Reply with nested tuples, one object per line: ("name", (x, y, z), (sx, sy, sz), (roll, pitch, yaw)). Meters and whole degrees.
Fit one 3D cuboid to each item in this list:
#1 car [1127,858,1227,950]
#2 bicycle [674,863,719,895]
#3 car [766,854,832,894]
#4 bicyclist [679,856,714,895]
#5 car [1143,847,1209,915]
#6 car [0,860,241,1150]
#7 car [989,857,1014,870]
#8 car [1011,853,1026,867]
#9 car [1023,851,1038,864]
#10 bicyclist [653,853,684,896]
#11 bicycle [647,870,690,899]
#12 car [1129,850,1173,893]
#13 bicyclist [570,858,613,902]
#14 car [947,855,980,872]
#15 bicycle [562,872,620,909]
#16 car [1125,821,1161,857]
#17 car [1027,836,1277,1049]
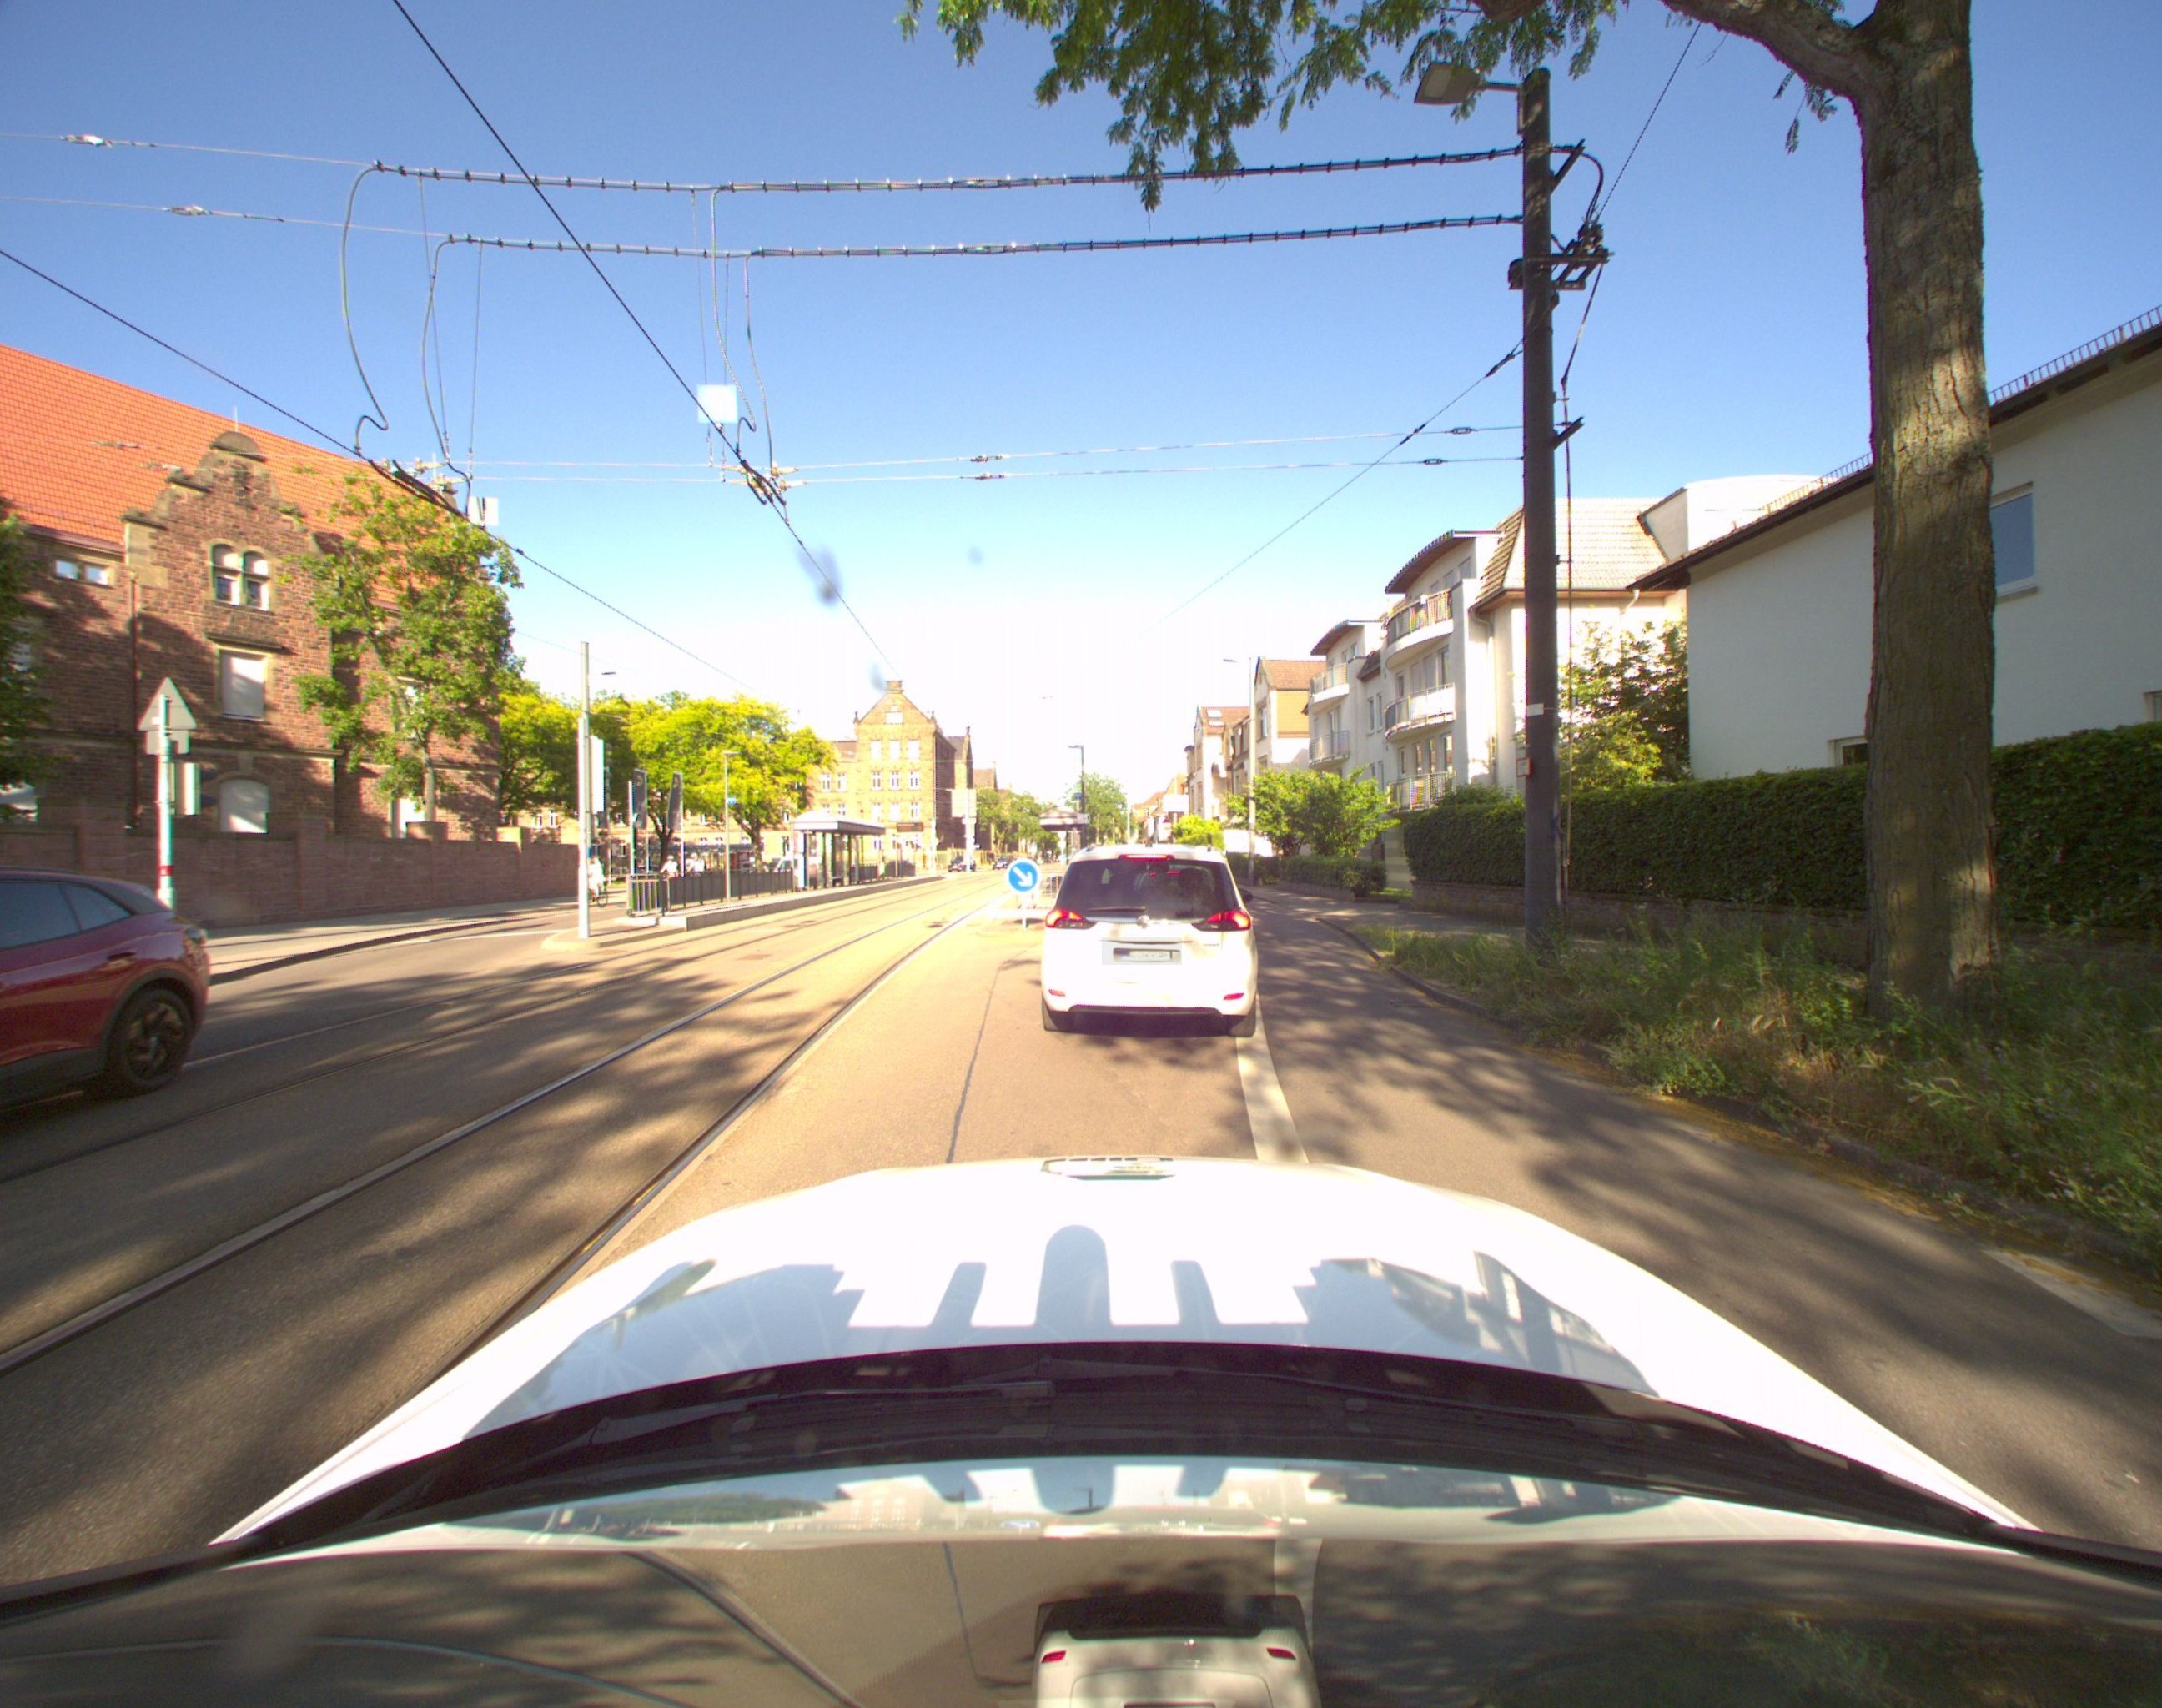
("car", (1.774, 0.803, 14.857), (1.560, 1.401, 3.792), (1, 0, 7))
("bicycle", (-15.602, 0.986, 33.096), (0.774, 1.231, 2.089), (-1, 0, 1))
("car", (-13.528, 0.924, 39.307), (1.823, 1.788, 4.250), (-1, 0, -3))
("bicyclist", (-15.602, 0.861, 33.085), (0.758, 1.536, 1.348), (-1, 0, 1))
("car", (2.486, 0.642, 21.434), (1.561, 1.614, 3.790), (1, 0, 6))
("car", (-6.847, 0.851, 4.159), (1.824, 1.607, 4.329), (-1, 0, -20))
("car", (-8.996, 1.108, 92.656), (1.816, 1.446, 4.337), (-1, -1, 8))
("car", (-8.191, 0.830, 107.440), (1.823, 1.788, 4.321), (-1, -1, -4))
("car", (-8.168, 0.556, 131.924), (1.985, 2.013, 4.003), (-1, 0, 3))
("bicyclist", (-16.646, 0.804, 32.892), (0.648, 1.674, 1.233), (0, 1, 0))
("bicycle", (-16.639, 1.219, 32.879), (0.666, 1.072, 2.015), (0, 0, 1))
("car", (2.845, 0.682, 33.741), (1.590, 1.635, 3.903), (1, 0, 2))
("bicyclist", (-16.548, 0.863, 27.556), (0.754, 1.471, 1.190), (0, -1, -1))
("car", (-11.488, 0.940, 79.623), (1.815, 1.617, 4.341), (-1, -1, 11))
("bicycle", (-16.545, 1.211, 27.566), (0.813, 1.198, 1.952), (0, 0, -1))
("car", (3.007, -0.741, 40.289), (1.590, 1.635, 3.903), (1, 1, 2))
("car", (0.781, 0.670, 8.181), (1.868, 1.585, 4.008), (-1, 0, 7))
